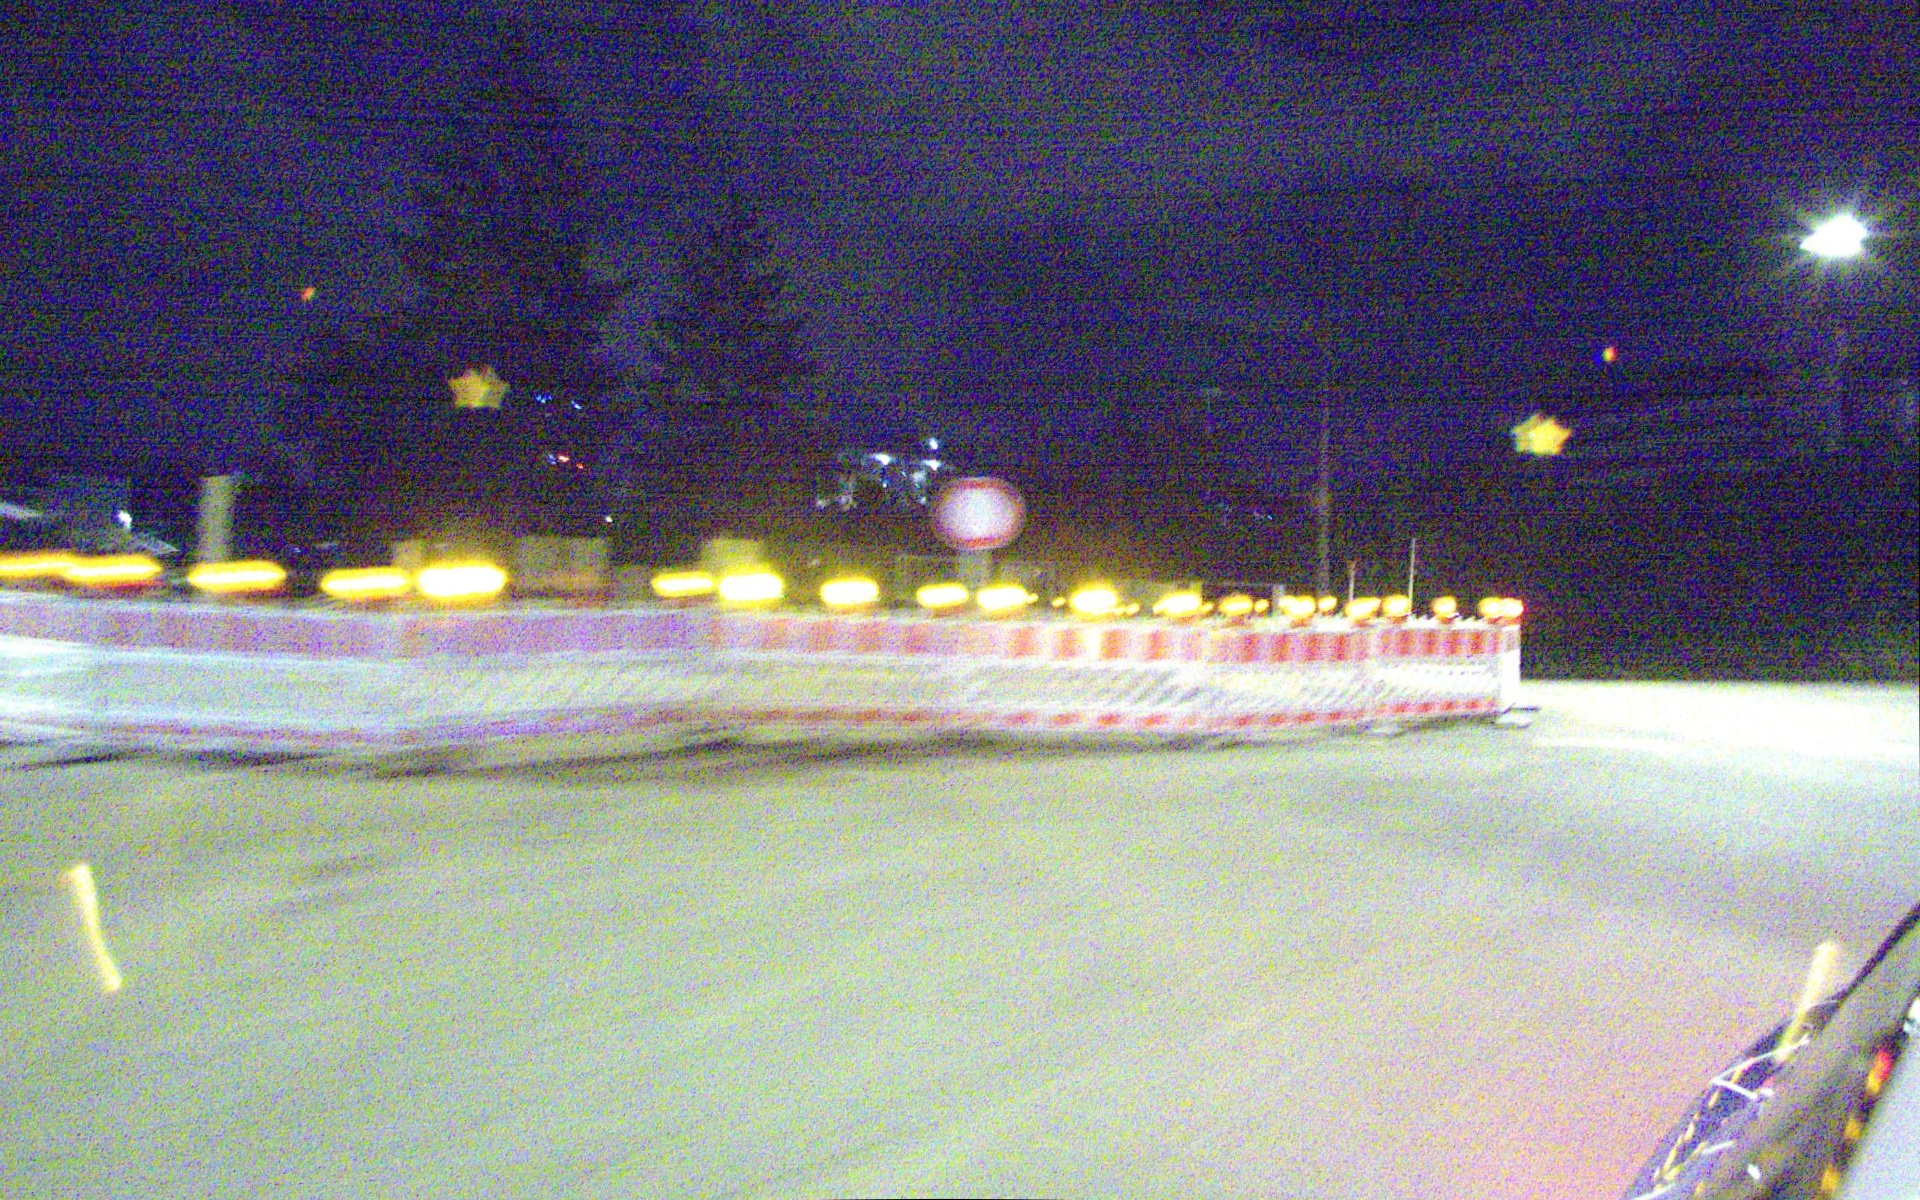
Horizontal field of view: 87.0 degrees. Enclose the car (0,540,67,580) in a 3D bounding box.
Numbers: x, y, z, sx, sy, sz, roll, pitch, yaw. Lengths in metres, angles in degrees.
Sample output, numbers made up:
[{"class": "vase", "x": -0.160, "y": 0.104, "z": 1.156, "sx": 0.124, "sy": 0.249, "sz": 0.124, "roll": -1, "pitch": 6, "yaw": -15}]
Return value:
[{"class": "car", "x": -36.119, "y": -1.524, "z": 39.107, "sx": 1.962, "sy": 1.438, "sz": 4.000, "roll": 2, "pitch": 0, "yaw": -36}]
